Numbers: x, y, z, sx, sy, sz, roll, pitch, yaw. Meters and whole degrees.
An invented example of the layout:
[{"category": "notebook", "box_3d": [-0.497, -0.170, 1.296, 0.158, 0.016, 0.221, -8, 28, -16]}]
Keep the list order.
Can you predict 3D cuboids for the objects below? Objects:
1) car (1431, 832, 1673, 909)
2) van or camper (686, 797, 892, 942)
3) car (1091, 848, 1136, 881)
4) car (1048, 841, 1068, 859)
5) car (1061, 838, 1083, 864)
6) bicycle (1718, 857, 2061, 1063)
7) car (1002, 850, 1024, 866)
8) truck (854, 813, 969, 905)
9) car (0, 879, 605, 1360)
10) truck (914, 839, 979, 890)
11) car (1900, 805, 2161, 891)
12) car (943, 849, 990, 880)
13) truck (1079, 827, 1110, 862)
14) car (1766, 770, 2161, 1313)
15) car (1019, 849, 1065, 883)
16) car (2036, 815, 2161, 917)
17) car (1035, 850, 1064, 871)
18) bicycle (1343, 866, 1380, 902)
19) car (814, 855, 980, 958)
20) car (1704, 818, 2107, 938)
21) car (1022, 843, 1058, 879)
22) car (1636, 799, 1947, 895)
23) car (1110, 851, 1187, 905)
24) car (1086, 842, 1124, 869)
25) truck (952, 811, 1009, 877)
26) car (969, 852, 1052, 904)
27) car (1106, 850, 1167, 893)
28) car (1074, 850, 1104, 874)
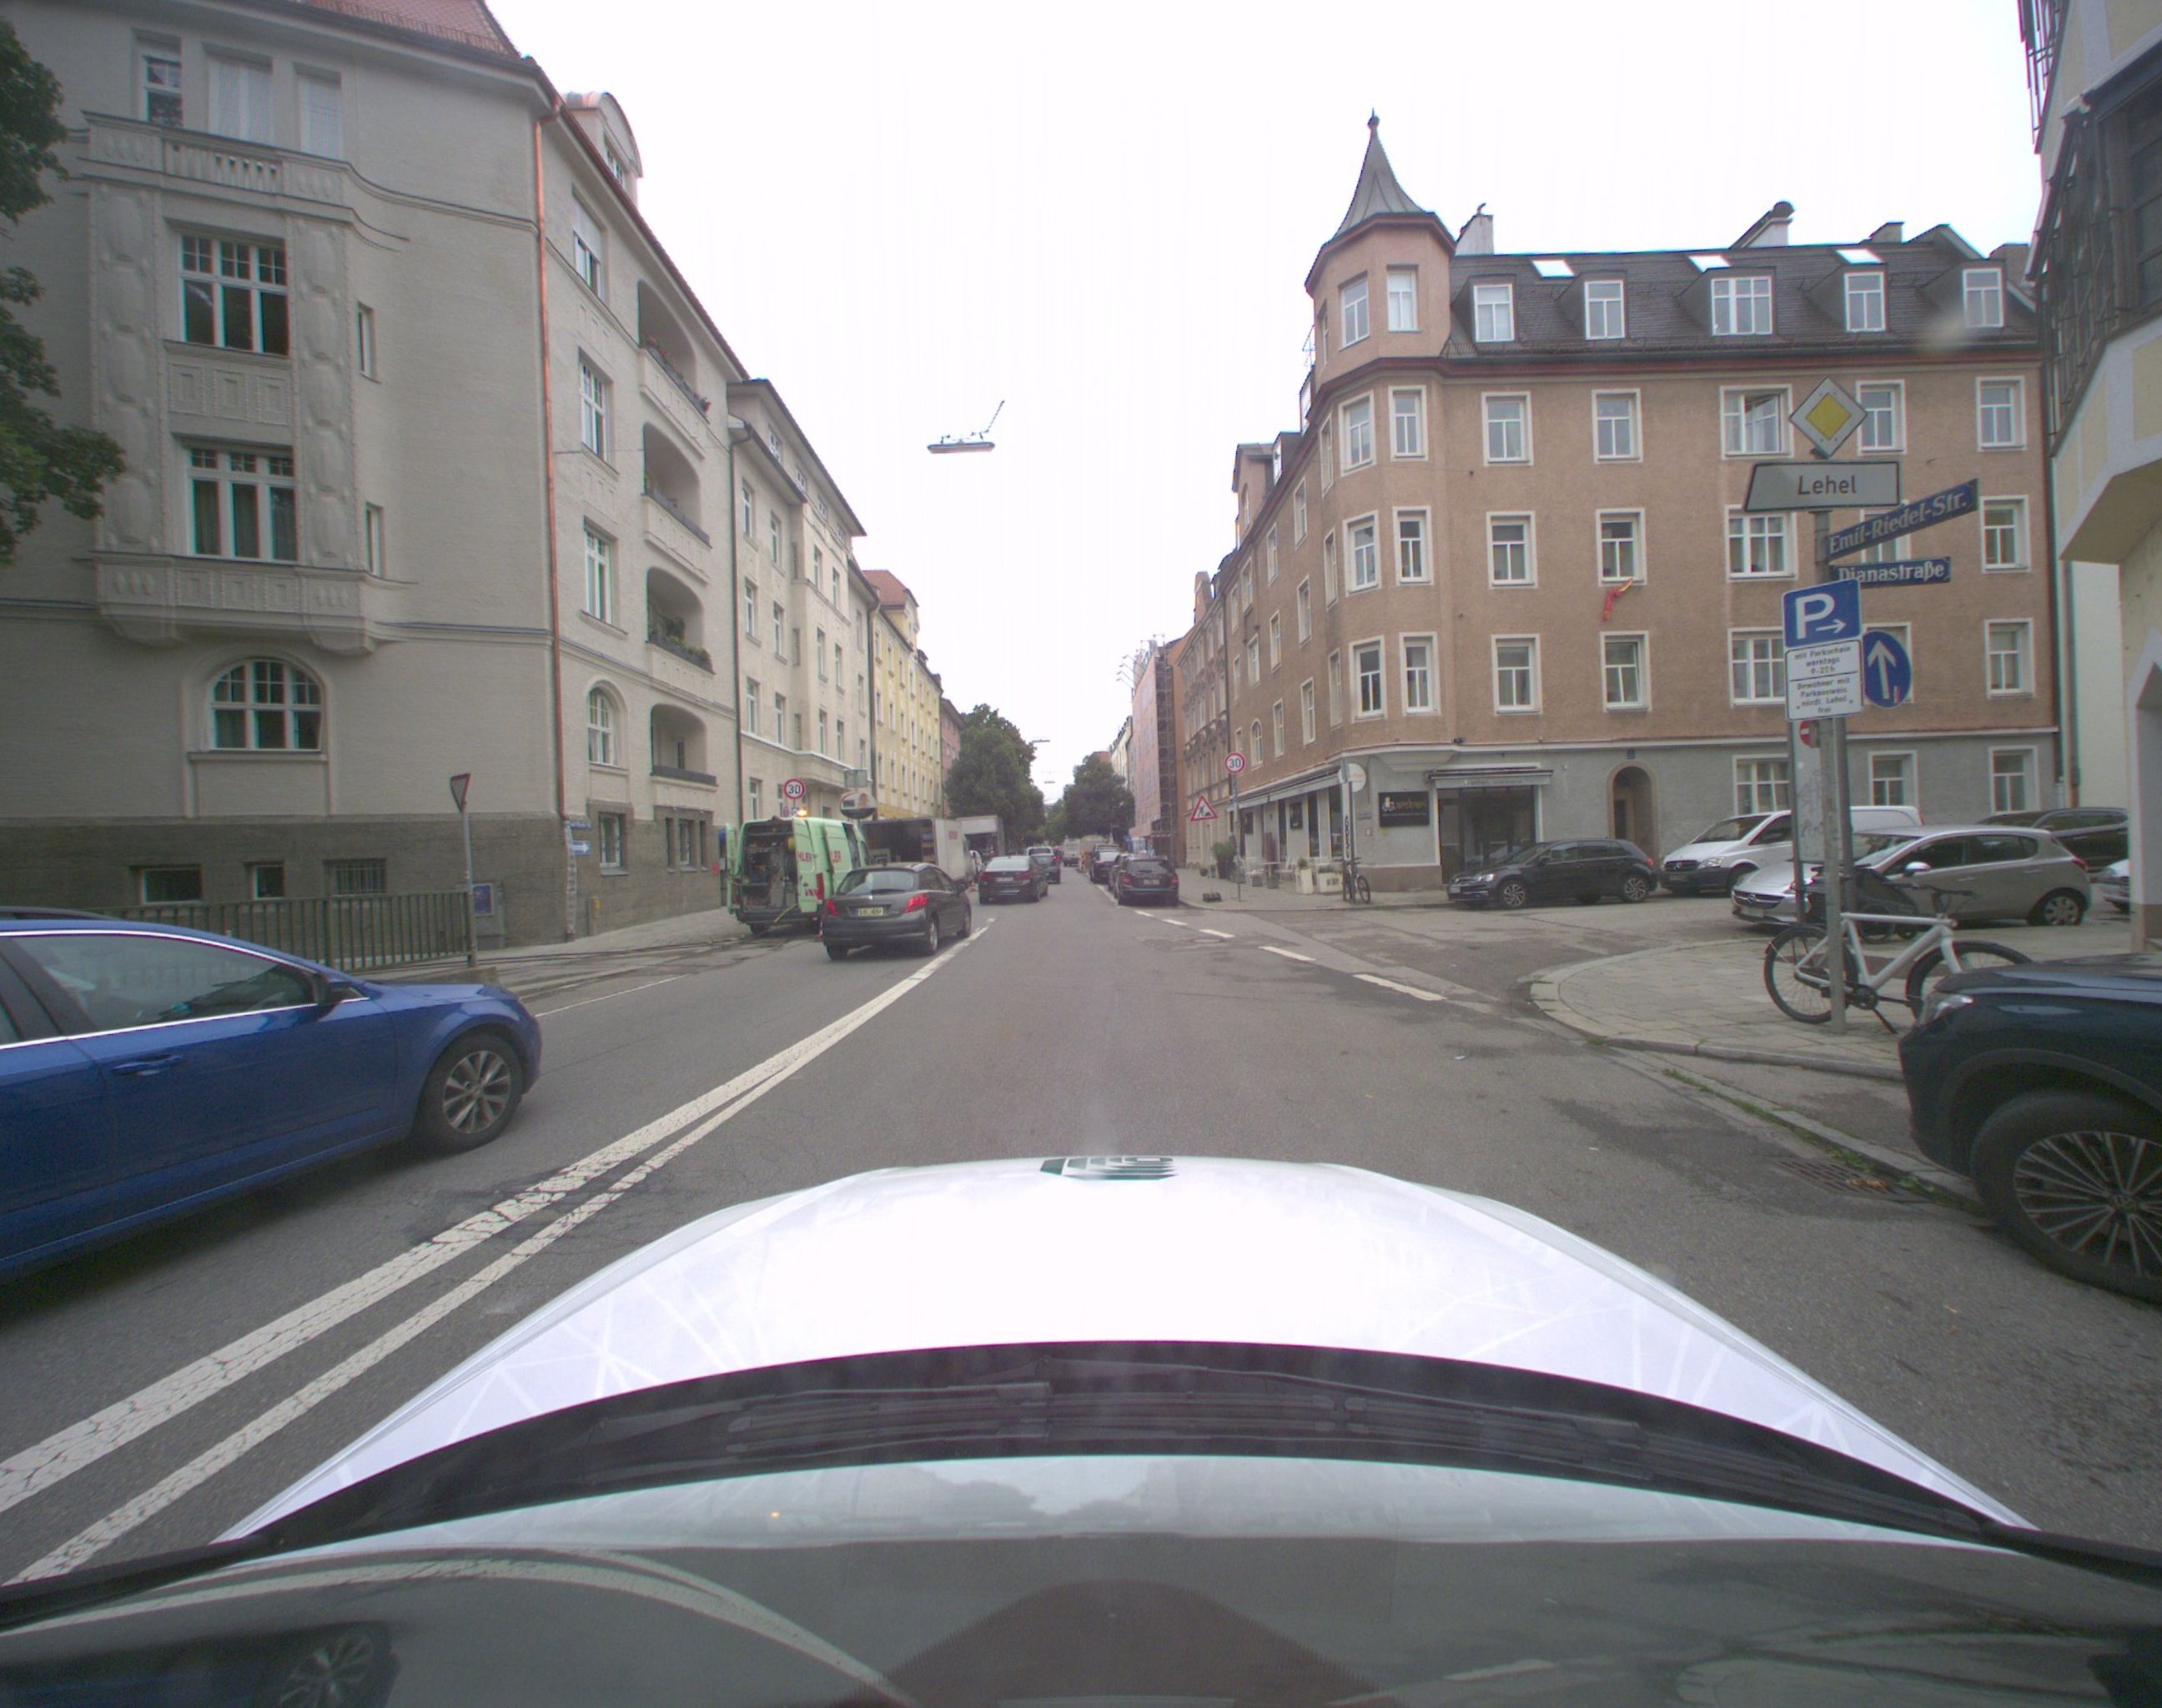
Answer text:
[{"category": "car", "box_3d": [10.160, 0.367, 17.807, 4.157, 1.429, 1.924, -2, -2, -1]}, {"category": "van or camper", "box_3d": [-6.632, 0.258, 19.589, 2.592, 2.840, 6.185, -2, 1, 0]}, {"category": "car", "box_3d": [1.500, 0.471, 39.316, 1.839, 1.429, 4.303, 1, 1, -2]}, {"category": "car", "box_3d": [-2.557, -0.482, 90.001, 1.986, 1.904, 4.001, -1, 0, 1]}, {"category": "car", "box_3d": [-0.871, -0.291, 80.069, 1.933, 2.480, 4.783, -1, 0, 1]}, {"category": "bicycle", "box_3d": [5.610, 0.637, 5.865, 0.512, 1.208, 1.996, -1, 0, 2]}, {"category": "car", "box_3d": [-6.663, 0.367, 79.924, 1.934, 1.448, 3.864, -1, 0, -1]}, {"category": "truck", "box_3d": [-5.980, 0.102, 29.915, 2.766, 2.873, 7.198, -2, 1, -1]}, {"category": "car", "box_3d": [-4.383, 0.914, 3.015, 1.976, 1.454, 4.744, -2, -1, 7]}, {"category": "truck", "box_3d": [-6.182, 0.458, 37.952, 2.280, 2.171, 4.804, -1, 0, -1]}, {"category": "car", "box_3d": [21.730, -0.117, 18.250, 4.594, 1.687, 2.099, -2, -2, -1]}, {"category": "car", "box_3d": [-6.322, 0.565, 45.430, 1.984, 1.610, 4.139, -1, 0, 0]}, {"category": "truck", "box_3d": [1.137, -0.857, 73.080, 2.485, 2.973, 5.325, -1, 0, -1]}, {"category": "car", "box_3d": [4.188, 0.531, 1.631, 1.812, 1.679, 4.511, -3, 0, 1]}, {"category": "car", "box_3d": [-1.849, 0.556, 39.757, 1.984, 1.429, 4.140, -2, 1, 0]}, {"category": "car", "box_3d": [17.092, 0.101, 12.071, 3.793, 1.377, 1.747, -2, 2, 1]}, {"category": "car", "box_3d": [-2.366, 0.492, 61.687, 1.984, 1.429, 4.140, -2, 1, 0]}, {"category": "bicycle", "box_3d": [6.861, 0.721, 19.970, 0.455, 0.805, 1.327, -1, 0, 2]}, {"category": "car", "box_3d": [-2.991, 0.787, 14.165, 1.752, 1.461, 4.076, -2, 0, 2]}, {"category": "car", "box_3d": [11.667, 0.299, 11.747, 4.022, 1.456, 1.747, -2, 2, 1]}, {"category": "car", "box_3d": [-2.567, 0.397, 51.965, 1.984, 2.075, 4.140, -2, 1, 0]}, {"category": "car", "box_3d": [15.762, -0.122, 18.294, 5.112, 1.854, 2.099, -2, -2, -1]}, {"category": "car", "box_3d": [1.942, 0.655, 24.675, 1.839, 1.429, 4.181, 1, 1, -2]}, {"category": "car", "box_3d": [1.343, 0.045, 47.187, 1.984, 1.429, 4.140, -2, 1, 0]}, {"category": "truck", "box_3d": [-6.450, -0.639, 53.167, 3.005, 3.951, 6.990, -1, 0, -2]}, {"category": "car", "box_3d": [-2.168, 0.701, 26.519, 1.982, 1.429, 4.910, -1, 1, 3]}, {"category": "car", "box_3d": [2.000, 0.598, 30.413, 1.839, 1.429, 4.137, 1, 1, -2]}, {"category": "car", "box_3d": [0.544, 0.529, 56.706, 1.984, 1.429, 4.140, -2, 1, 0]}]
